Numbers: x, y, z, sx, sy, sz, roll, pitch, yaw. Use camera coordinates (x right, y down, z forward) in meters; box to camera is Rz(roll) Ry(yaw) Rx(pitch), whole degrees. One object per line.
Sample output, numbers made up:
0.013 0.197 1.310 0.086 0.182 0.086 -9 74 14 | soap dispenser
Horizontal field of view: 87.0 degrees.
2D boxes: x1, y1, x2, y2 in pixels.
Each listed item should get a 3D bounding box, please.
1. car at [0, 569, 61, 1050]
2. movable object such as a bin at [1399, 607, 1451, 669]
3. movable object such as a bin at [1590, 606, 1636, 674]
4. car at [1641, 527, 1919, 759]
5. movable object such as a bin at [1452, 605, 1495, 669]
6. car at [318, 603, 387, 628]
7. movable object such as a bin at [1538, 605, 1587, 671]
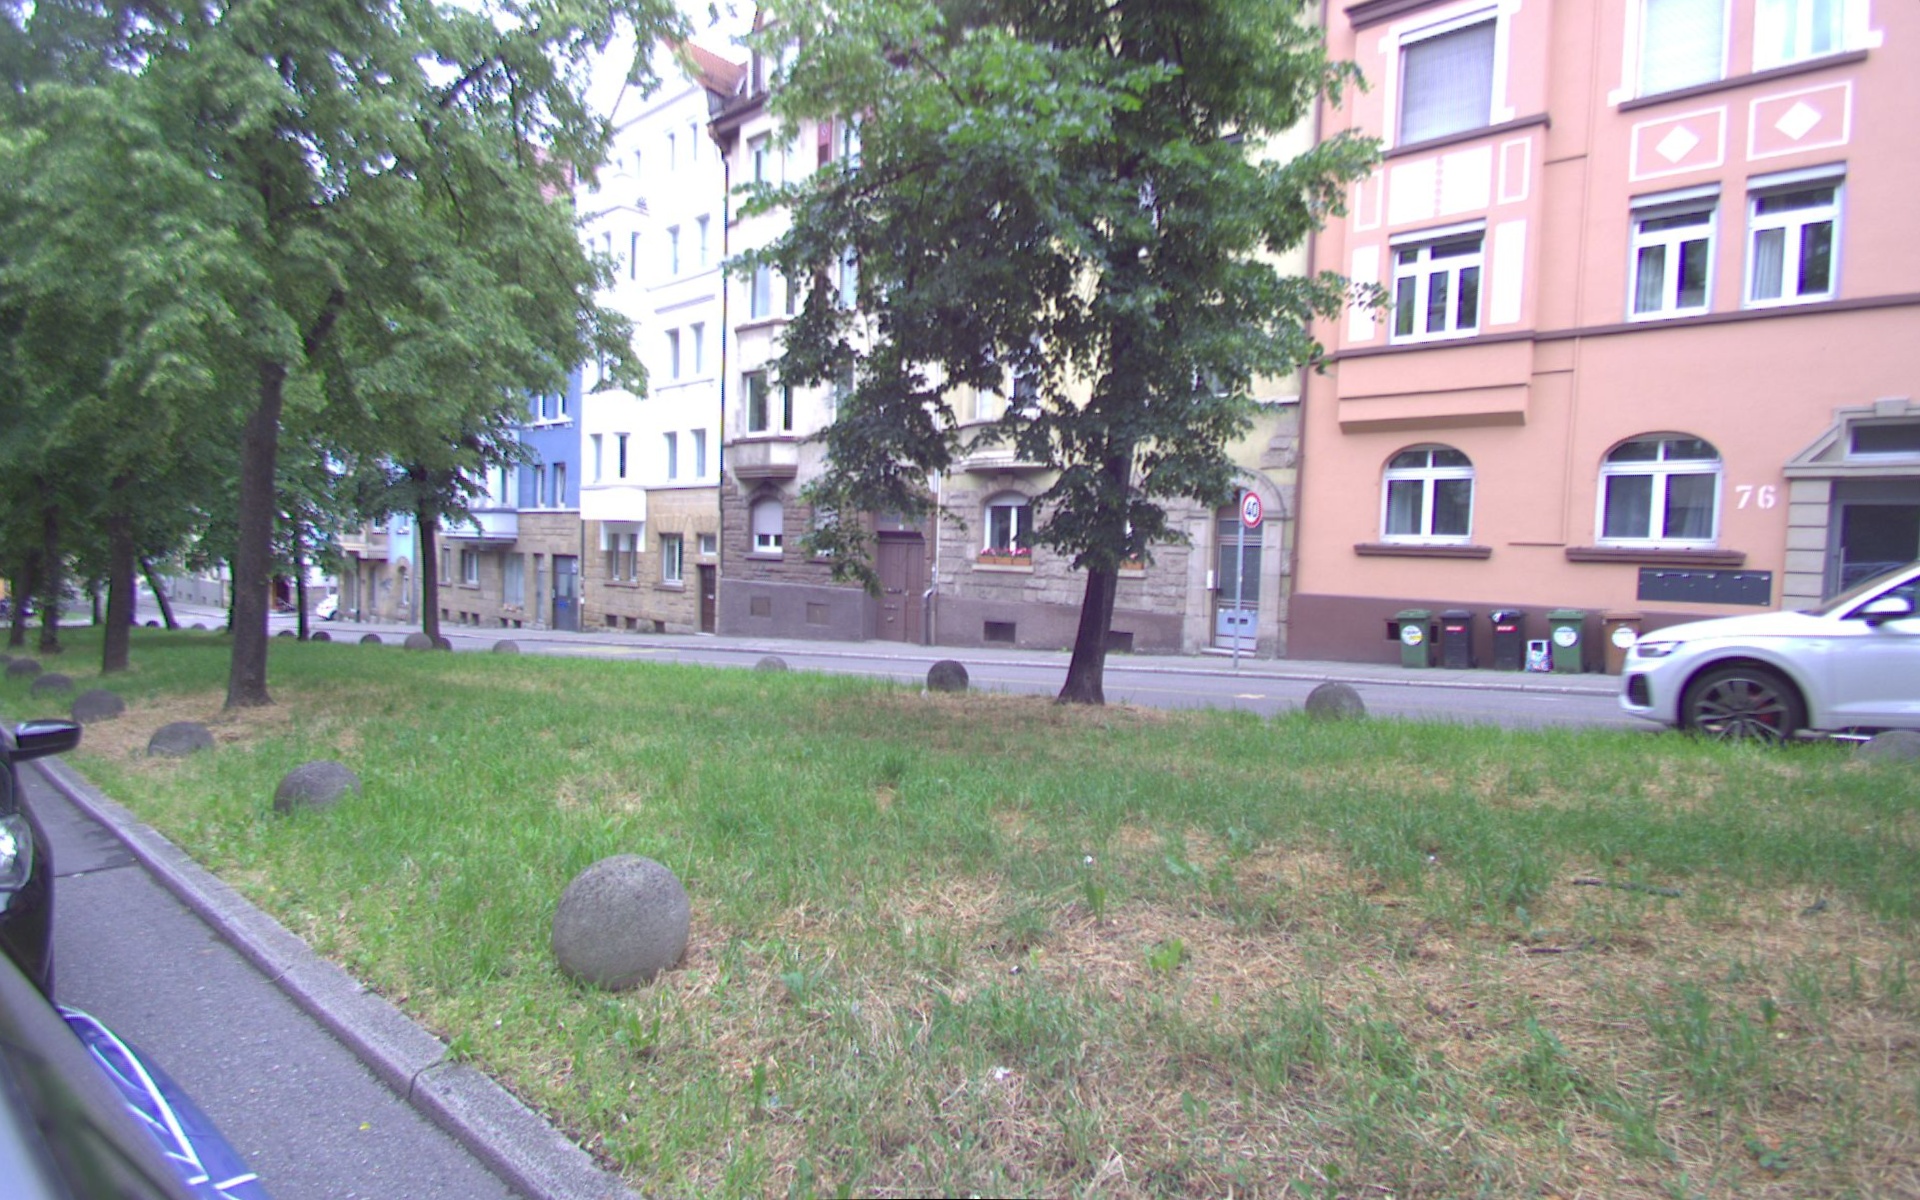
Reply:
-4.623 0.612 3.670 3.295 1.476 1.590 1 -1 41 | car
7.449 0.592 16.211 0.617 0.955 0.610 1 1 40 | movable object such as a bin
9.325 0.561 14.452 0.514 0.928 0.750 0 1 36 | movable object such as a bin
7.842 0.290 7.455 4.488 1.640 1.875 -1 0 41 | car
7.999 0.560 15.760 0.531 0.953 0.575 0 1 34 | movable object such as a bin
-35.228 0.876 58.716 3.244 1.341 1.674 0 1 -40 | car
8.850 0.545 14.852 0.558 0.928 0.648 0 1 36 | movable object such as a bin
